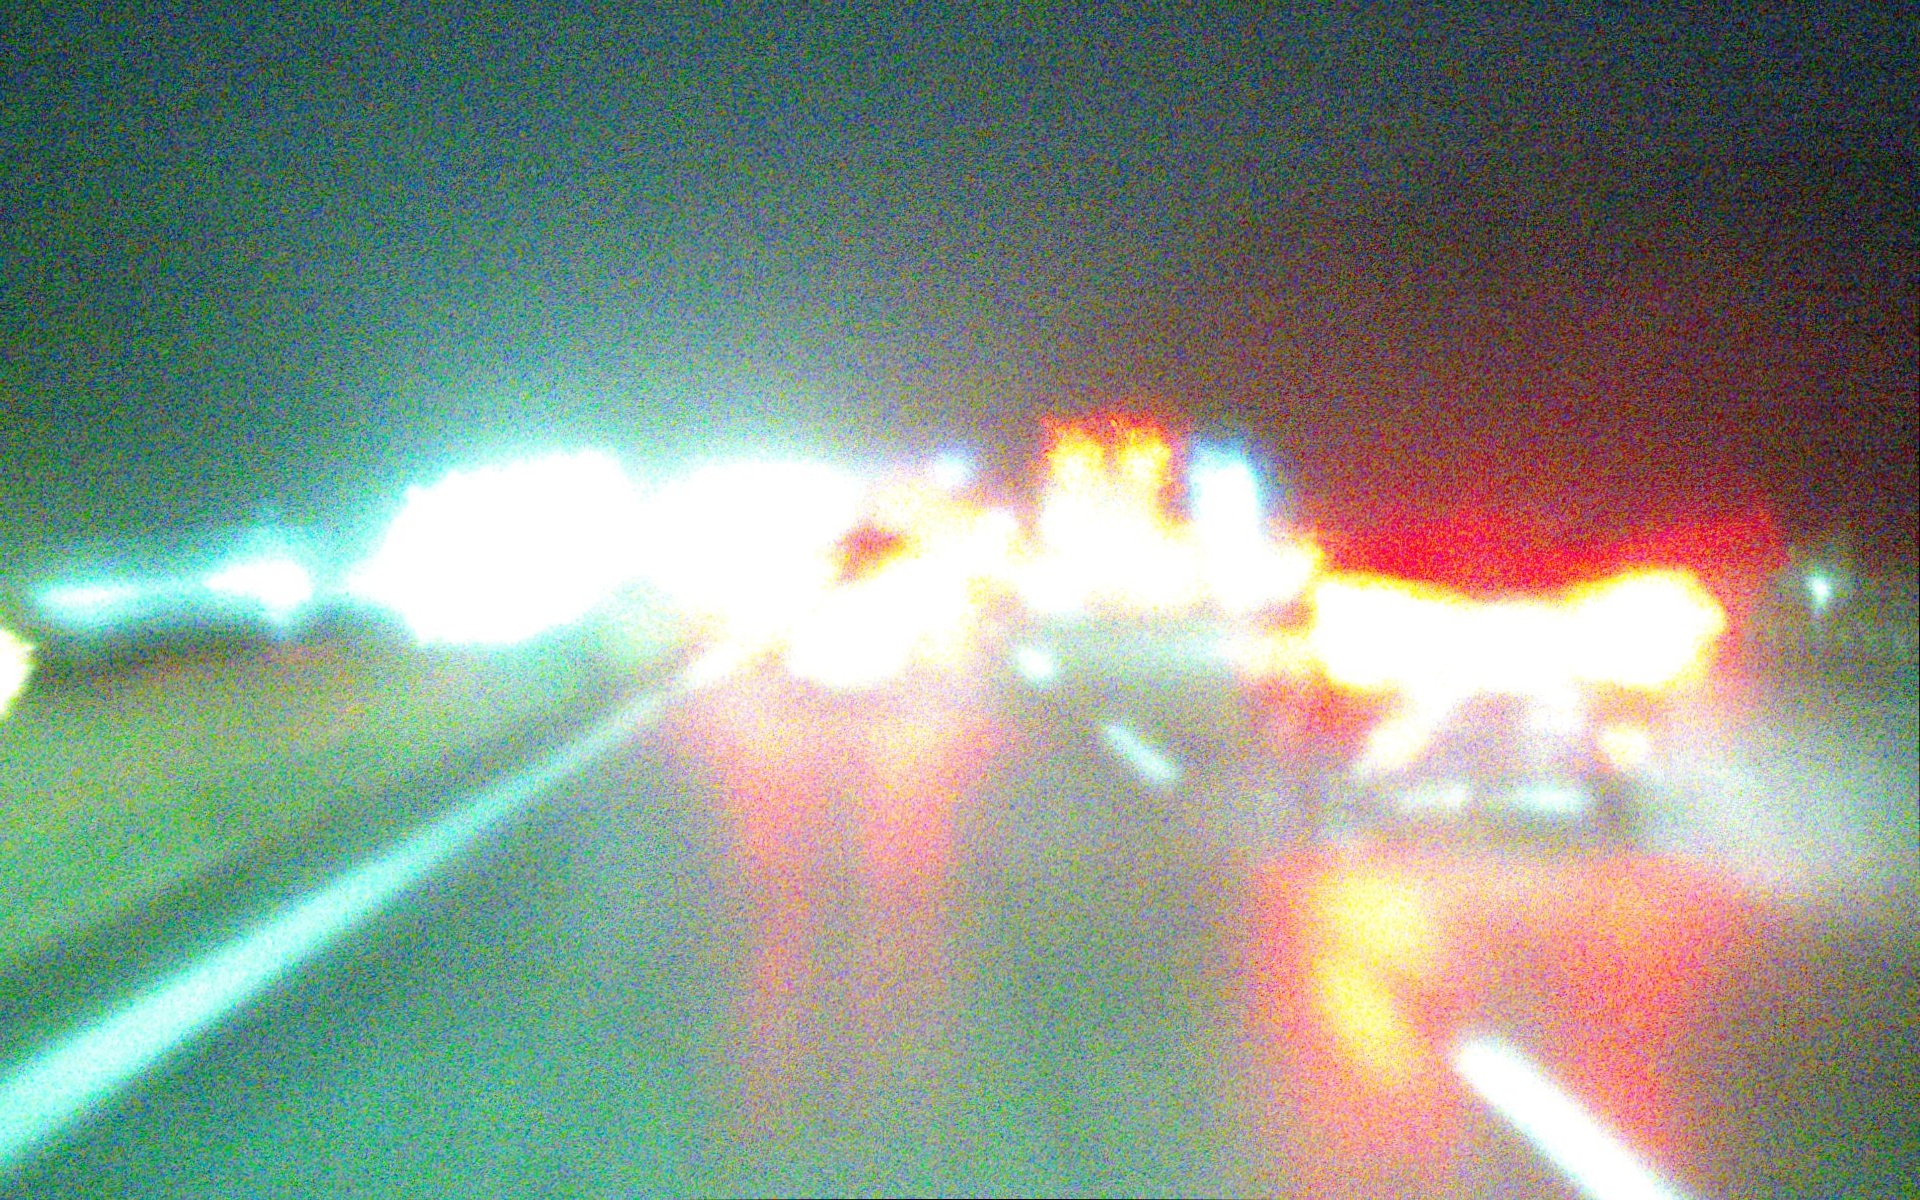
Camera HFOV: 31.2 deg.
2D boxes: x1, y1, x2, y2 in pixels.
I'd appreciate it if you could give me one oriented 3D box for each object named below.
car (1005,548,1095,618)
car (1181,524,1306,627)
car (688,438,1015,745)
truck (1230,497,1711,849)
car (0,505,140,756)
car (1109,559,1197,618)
[{"bbox_3d":[1.869,-0.371,72.128,1.612,1.407,3.792,0,1,-3],"label":"car"},{"bbox_3d":[5.861,-0.559,71.697,2.046,1.967,5.407,-2,2,0],"label":"car"},{"bbox_3d":[-1.080,-0.152,32.352,2.709,2.525,5.832,-2,2,-3],"label":"car"},{"bbox_3d":[2.684,0.324,19.218,1.843,1.690,4.855,1,1,-1],"label":"truck"},{"bbox_3d":[-8.447,0.204,29.716,1.784,2.007,4.381,1,1,-2],"label":"car"},{"bbox_3d":[5.281,-0.345,94.699,1.894,1.481,4.963,1,2,-3],"label":"car"}]
